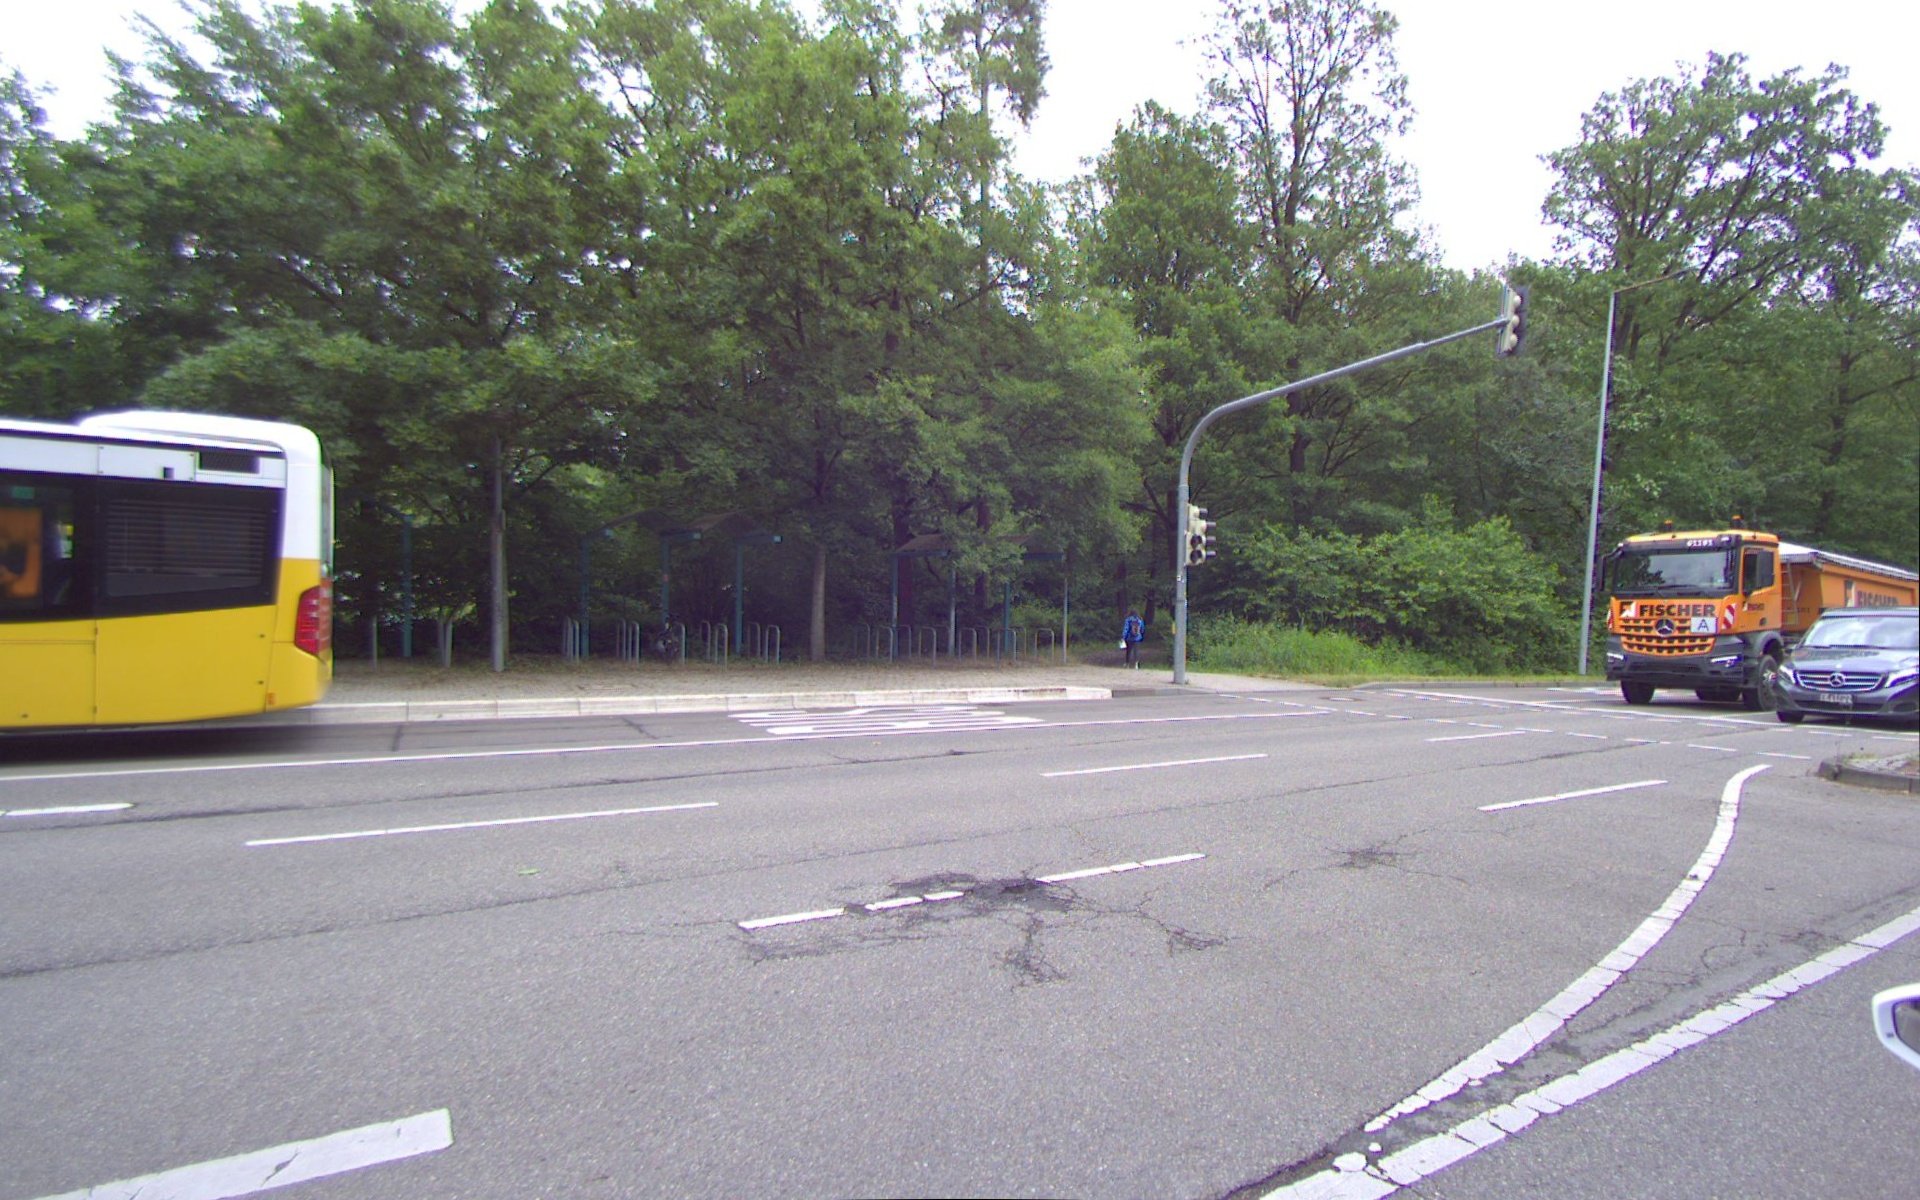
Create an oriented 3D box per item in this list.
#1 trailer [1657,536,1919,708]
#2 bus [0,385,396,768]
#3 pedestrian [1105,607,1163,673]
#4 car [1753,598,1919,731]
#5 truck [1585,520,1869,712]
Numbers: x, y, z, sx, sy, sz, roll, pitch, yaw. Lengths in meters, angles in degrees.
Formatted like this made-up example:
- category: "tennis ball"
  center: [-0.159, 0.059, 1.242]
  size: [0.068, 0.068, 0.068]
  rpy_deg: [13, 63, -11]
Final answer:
- category: "trailer"
  center: [19.401, 0.603, 23.203]
  size: [8.485, 3.362, 2.720]
  rpy_deg: [3, -2, -36]
- category: "bus"
  center: [-9.923, -0.234, 8.836]
  size: [8.592, 3.168, 2.885]
  rpy_deg: [1, 0, -30]
- category: "pedestrian"
  center: [4.680, 1.059, 27.035]
  size: [1.056, 1.671, 1.042]
  rpy_deg: [0, 4, -29]
- category: "car"
  center: [15.274, 1.025, 16.674]
  size: [4.789, 1.918, 1.981]
  rpy_deg: [2, -2, -34]
- category: "truck"
  center: [15.988, 0.435, 20.755]
  size: [7.090, 3.362, 2.721]
  rpy_deg: [3, -2, -35]
